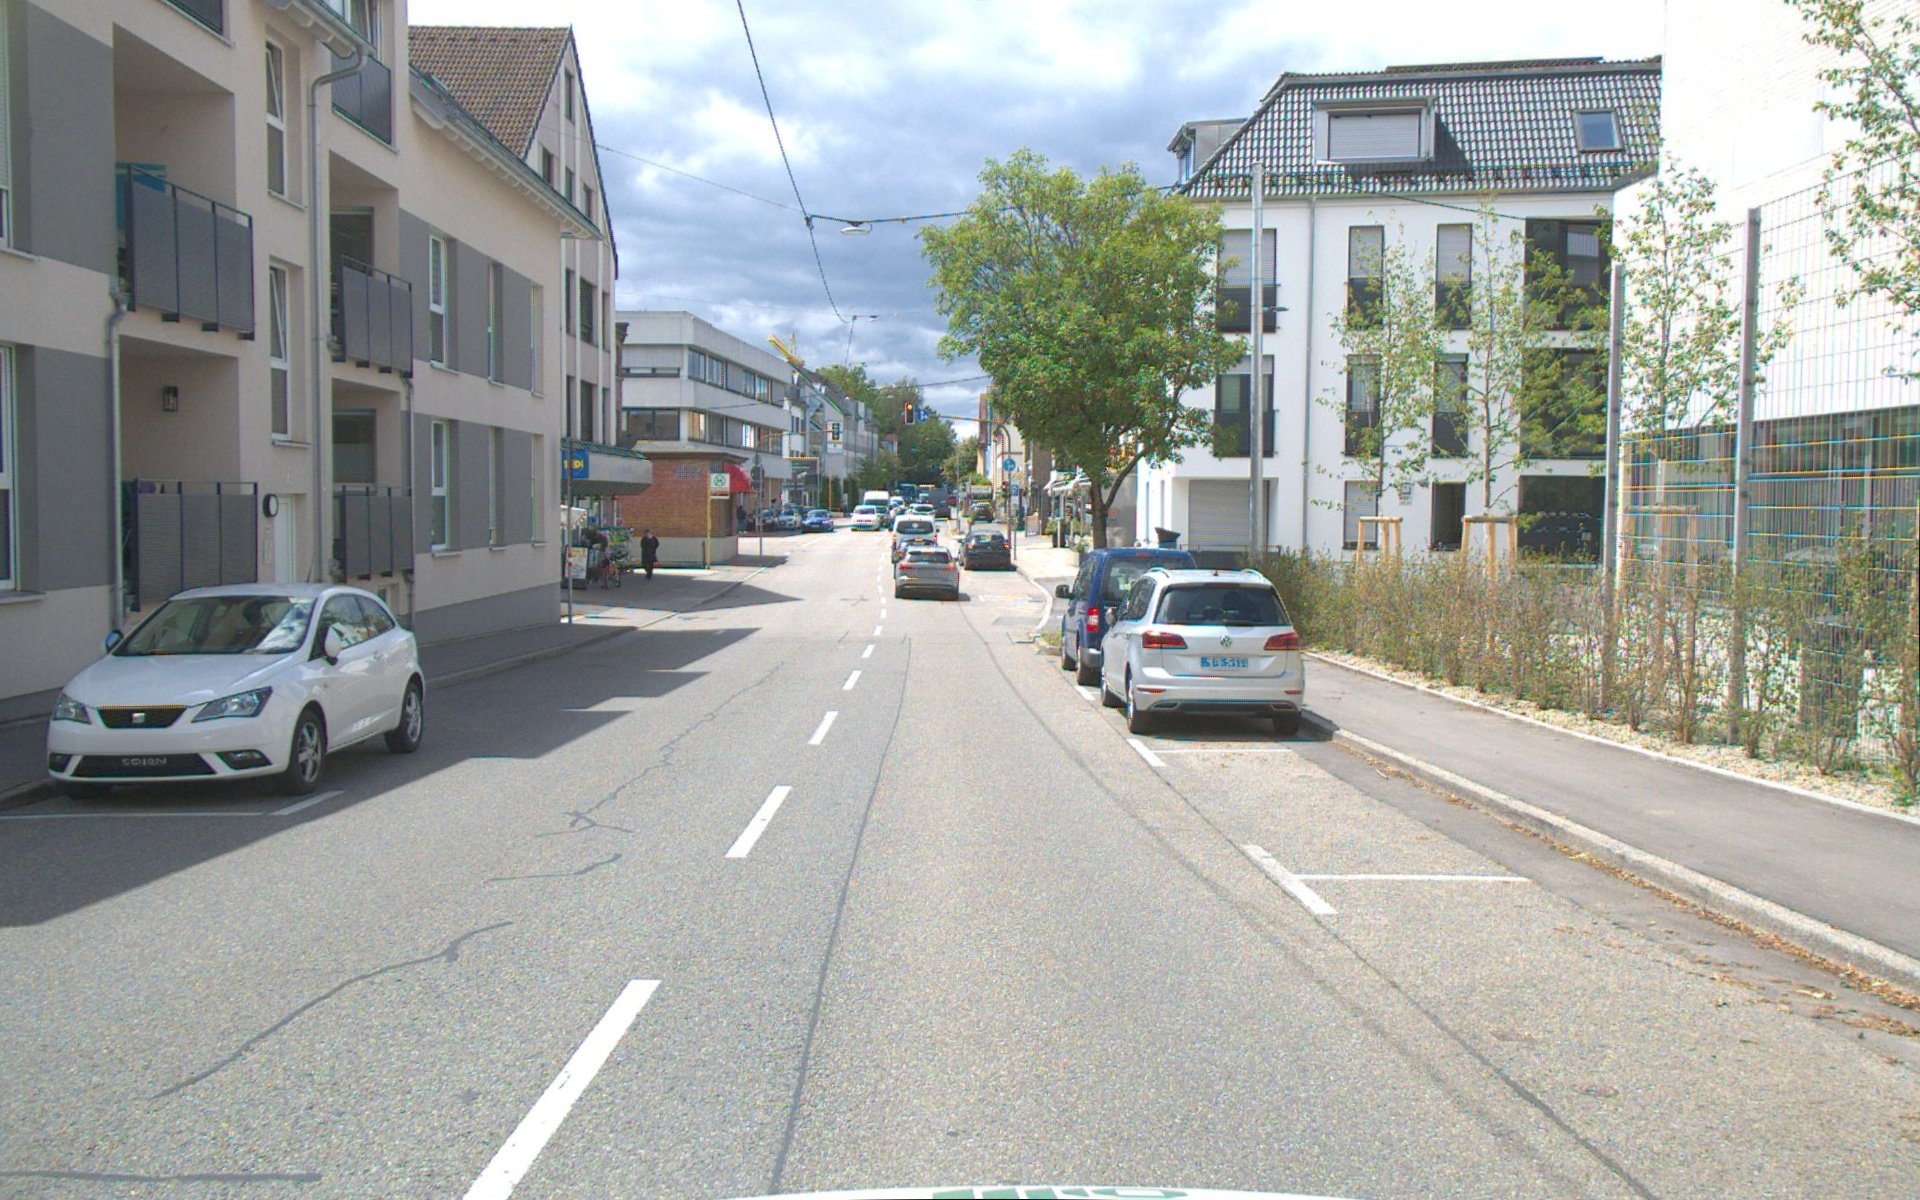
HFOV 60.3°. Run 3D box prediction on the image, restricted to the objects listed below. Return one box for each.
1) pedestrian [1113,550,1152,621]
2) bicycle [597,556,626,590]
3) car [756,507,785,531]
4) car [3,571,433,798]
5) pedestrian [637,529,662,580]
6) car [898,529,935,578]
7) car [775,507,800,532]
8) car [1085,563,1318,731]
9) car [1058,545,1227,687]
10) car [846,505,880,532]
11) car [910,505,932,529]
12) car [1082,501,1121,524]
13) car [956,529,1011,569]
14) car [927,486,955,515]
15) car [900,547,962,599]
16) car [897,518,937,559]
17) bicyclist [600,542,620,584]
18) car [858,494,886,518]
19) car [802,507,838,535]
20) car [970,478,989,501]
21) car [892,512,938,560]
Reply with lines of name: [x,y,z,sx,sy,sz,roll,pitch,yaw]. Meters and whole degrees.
pedestrian: [4.142,-0.346,39.660,0.726,1.676,0.612,-1,1,-21]
bicycle: [-9.916,-0.790,47.127,0.457,0.876,1.777,2,3,-1]
car: [-12.144,-5.202,106.040,1.520,1.400,3.398,0,1,-1]
car: [-5.327,0.507,12.418,1.613,1.443,3.698,0,1,-1]
pedestrian: [-9.889,-1.449,52.684,0.615,1.630,0.563,1,1,3]
car: [-1.529,-1.659,58.085,1.248,1.553,3.051,0,5,-2]
car: [-11.591,-5.416,111.341,1.356,1.567,3.398,0,1,-1]
car: [2.422,0.394,17.632,1.750,1.535,4.364,1,1,-1]
car: [2.474,0.163,23.506,1.807,1.798,4.514,1,1,-1]
car: [-6.448,-5.416,110.325,1.834,1.668,4.001,2,1,1]
car: [-2.957,-6.314,126.062,1.602,1.684,3.850,1,1,-1]
car: [10.905,-6.719,127.353,1.541,1.642,3.655,3,1,29]
car: [0.867,-1.991,63.596,1.719,1.394,3.997,0,3,-5]
car: [-1.725,-8.826,147.568,2.387,2.358,5.326,2,2,-1]
car: [-0.849,-0.814,48.004,1.708,1.441,4.000,0,2,-1]
car: [-2.031,-2.917,78.908,1.799,1.894,3.850,1,2,-1]
bicyclist: [-9.937,-1.060,47.015,0.448,1.199,0.625,0,2,-1]
car: [-6.655,-7.089,125.017,1.834,1.668,4.001,0,1,1]
car: [-9.027,-5.114,106.958,1.834,1.668,4.001,2,1,1]
car: [1.903,-10.757,161.456,1.765,2.049,4.000,0,1,-1]
car: [-1.832,-2.605,67.634,1.799,1.894,3.850,1,2,-1]
